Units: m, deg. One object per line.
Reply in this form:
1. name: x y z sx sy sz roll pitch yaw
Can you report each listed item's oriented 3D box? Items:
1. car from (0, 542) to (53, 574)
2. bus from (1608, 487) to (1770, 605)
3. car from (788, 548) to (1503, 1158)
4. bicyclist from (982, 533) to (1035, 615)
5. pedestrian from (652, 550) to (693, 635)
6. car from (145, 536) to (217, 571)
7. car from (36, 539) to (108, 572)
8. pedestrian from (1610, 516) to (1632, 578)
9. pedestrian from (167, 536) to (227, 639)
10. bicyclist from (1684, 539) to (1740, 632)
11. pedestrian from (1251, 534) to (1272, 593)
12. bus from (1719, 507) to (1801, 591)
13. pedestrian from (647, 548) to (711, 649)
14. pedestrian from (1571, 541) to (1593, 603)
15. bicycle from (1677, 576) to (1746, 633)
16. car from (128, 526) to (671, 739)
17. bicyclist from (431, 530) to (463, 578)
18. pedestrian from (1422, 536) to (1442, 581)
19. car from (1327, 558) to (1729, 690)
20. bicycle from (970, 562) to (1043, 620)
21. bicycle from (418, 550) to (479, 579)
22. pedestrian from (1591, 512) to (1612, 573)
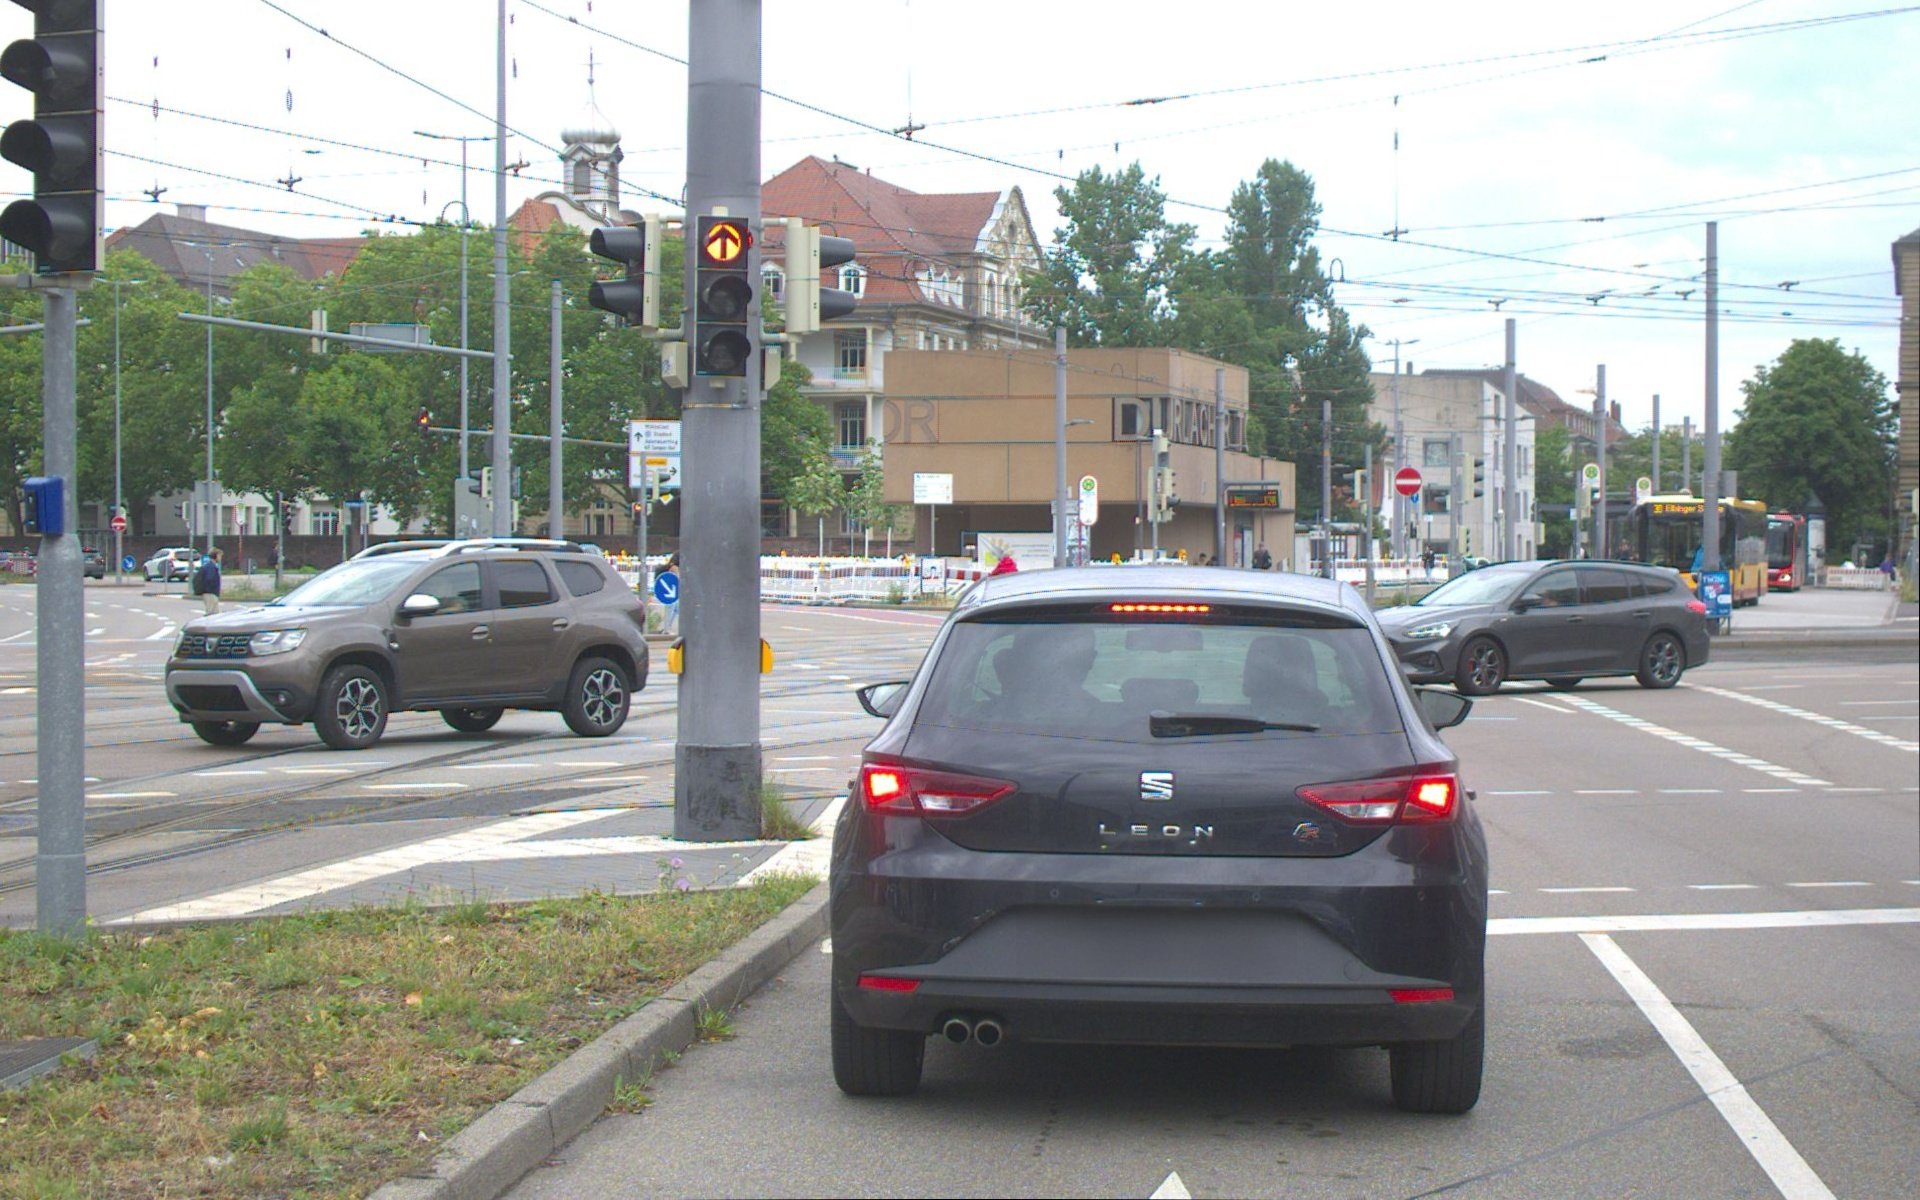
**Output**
1. car: -45.941 -2.055 167.630 1.776 1.459 3.999 0 2 -41
2. bus: 20.532 -1.500 96.299 2.963 3.112 11.527 1 1 19
3. car: 0.468 0.579 10.174 1.704 1.444 3.812 1 1 1
4. bicyclist: 1.031 -0.556 72.828 0.882 1.726 0.895 0 1 -17
5. pedestrian: -5.230 -0.144 62.565 0.727 1.536 0.417 0 1 -7
6. car: -33.974 -2.048 149.869 1.776 1.459 4.000 0 2 -33
7. car: -41.817 -2.087 161.791 1.776 1.459 3.999 0 2 -39
8. pedestrian: 20.640 -1.651 107.329 0.621 1.911 0.698 0 1 14
9. pedestrian: -14.383 -0.235 64.782 1.027 1.927 0.701 0 1 -20
10. bicyclist: 15.140 -0.294 69.220 0.871 1.845 1.048 0 1 -1
11. pedestrian: 9.820 -1.179 111.905 0.621 1.911 0.710 0 1 8
12. bus: 32.317 -2.051 138.605 2.656 3.272 10.986 0 1 16
13. pedestrian: -5.453 -0.040 66.769 0.700 1.927 1.028 1 1 44
14. pedestrian: 19.360 -0.869 107.027 0.621 1.911 0.698 0 1 14
15. bicycle: 15.156 0.082 69.389 0.865 1.101 2.302 1 1 0
16. car: -4.582 0.230 28.540 1.802 1.634 4.219 1 1 43
17. bicyclist: -21.267 -1.904 142.524 0.939 2.007 0.976 1 1 33
18. pedestrian: 20.438 -1.805 148.960 0.622 1.911 0.709 0 -1 31
19. car: 6.361 0.237 38.384 4.378 1.391 1.699 0 1 -31
20. bicycle: 0.976 -0.200 73.016 0.891 1.174 2.303 0 1 -17
21. bicycle: -21.210 -1.487 142.572 0.941 1.175 2.724 1 1 34
22. pedestrian: 20.242 -1.812 108.518 0.621 1.911 0.710 0 1 8
